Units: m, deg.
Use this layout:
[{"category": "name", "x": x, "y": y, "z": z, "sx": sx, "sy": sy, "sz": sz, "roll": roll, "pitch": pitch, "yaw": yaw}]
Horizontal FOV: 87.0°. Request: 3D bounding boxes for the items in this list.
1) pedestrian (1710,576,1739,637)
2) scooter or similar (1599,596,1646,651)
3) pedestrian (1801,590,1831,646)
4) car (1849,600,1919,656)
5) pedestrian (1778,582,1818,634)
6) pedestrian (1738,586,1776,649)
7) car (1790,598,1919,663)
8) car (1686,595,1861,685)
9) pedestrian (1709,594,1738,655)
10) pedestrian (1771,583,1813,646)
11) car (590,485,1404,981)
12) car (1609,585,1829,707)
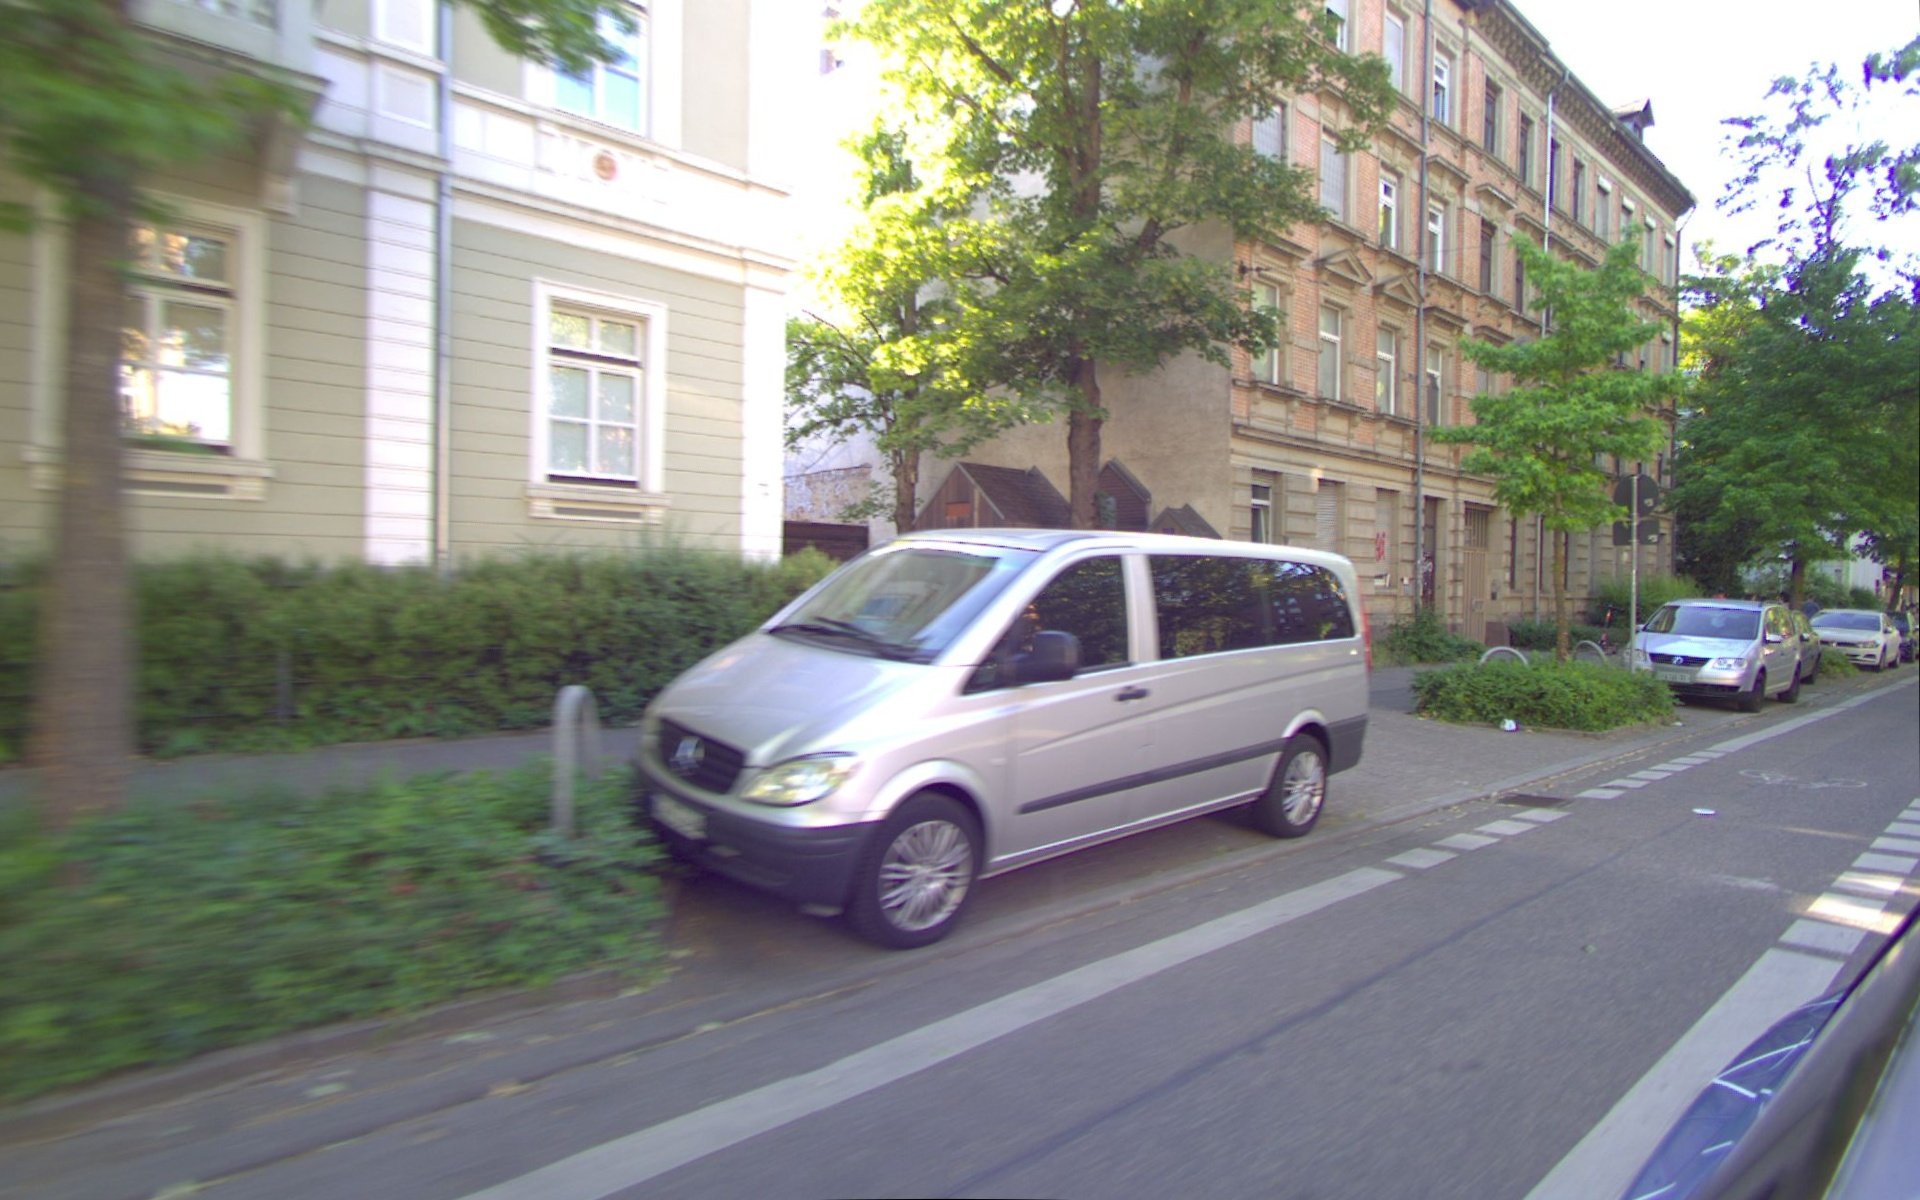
[{"category": "pedestrian", "x": 23.097, "y": 0.187, "z": 30.584, "sx": 0.599, "sy": 1.816, "sz": 0.716, "roll": 1, "pitch": 0, "yaw": 45}, {"category": "scooter or similar", "x": 15.886, "y": 0.548, "z": 24.278, "sx": 1.311, "sy": 1.262, "sz": 0.577, "roll": 0, "pitch": 0, "yaw": -40}, {"category": "pedestrian", "x": 28.367, "y": 0.595, "z": 33.535, "sx": 0.725, "sy": 1.816, "sz": 0.591, "roll": 1, "pitch": 0, "yaw": 42}, {"category": "car", "x": 27.446, "y": 0.769, "z": 29.604, "sx": 3.777, "sy": 1.429, "sz": 1.676, "roll": 0, "pitch": 4, "yaw": -42}, {"category": "pedestrian", "x": 30.380, "y": 0.300, "z": 36.691, "sx": 0.948, "sy": 1.815, "sz": 0.729, "roll": 1, "pitch": 2, "yaw": -30}, {"category": "pedestrian", "x": 22.484, "y": 0.475, "z": 28.536, "sx": 0.842, "sy": 1.731, "sz": 0.726, "roll": 1, "pitch": 0, "yaw": -44}, {"category": "car", "x": 22.564, "y": 0.710, "z": 25.449, "sx": 4.035, "sy": 1.384, "sz": 1.888, "roll": 0, "pitch": 4, "yaw": -41}, {"category": "car", "x": 16.433, "y": 0.726, "z": 20.364, "sx": 4.513, "sy": 1.484, "sz": 1.888, "roll": 0, "pitch": 4, "yaw": -41}, {"category": "pedestrian", "x": 23.425, "y": 0.741, "z": 31.049, "sx": 0.716, "sy": 1.816, "sz": 0.599, "roll": 1, "pitch": 0, "yaw": -43}, {"category": "pedestrian", "x": 22.865, "y": 0.385, "z": 27.803, "sx": 0.940, "sy": 1.714, "sz": 0.727, "roll": 1, "pitch": 0, "yaw": -41}, {"category": "car", "x": 0.564, "y": 0.443, "z": 6.116, "sx": 4.880, "sy": 1.873, "sz": 1.888, "roll": 0, "pitch": 4, "yaw": -41}, {"category": "car", "x": 12.190, "y": 0.634, "z": 16.160, "sx": 4.167, "sy": 1.587, "sz": 1.888, "roll": 0, "pitch": 4, "yaw": -41}]
